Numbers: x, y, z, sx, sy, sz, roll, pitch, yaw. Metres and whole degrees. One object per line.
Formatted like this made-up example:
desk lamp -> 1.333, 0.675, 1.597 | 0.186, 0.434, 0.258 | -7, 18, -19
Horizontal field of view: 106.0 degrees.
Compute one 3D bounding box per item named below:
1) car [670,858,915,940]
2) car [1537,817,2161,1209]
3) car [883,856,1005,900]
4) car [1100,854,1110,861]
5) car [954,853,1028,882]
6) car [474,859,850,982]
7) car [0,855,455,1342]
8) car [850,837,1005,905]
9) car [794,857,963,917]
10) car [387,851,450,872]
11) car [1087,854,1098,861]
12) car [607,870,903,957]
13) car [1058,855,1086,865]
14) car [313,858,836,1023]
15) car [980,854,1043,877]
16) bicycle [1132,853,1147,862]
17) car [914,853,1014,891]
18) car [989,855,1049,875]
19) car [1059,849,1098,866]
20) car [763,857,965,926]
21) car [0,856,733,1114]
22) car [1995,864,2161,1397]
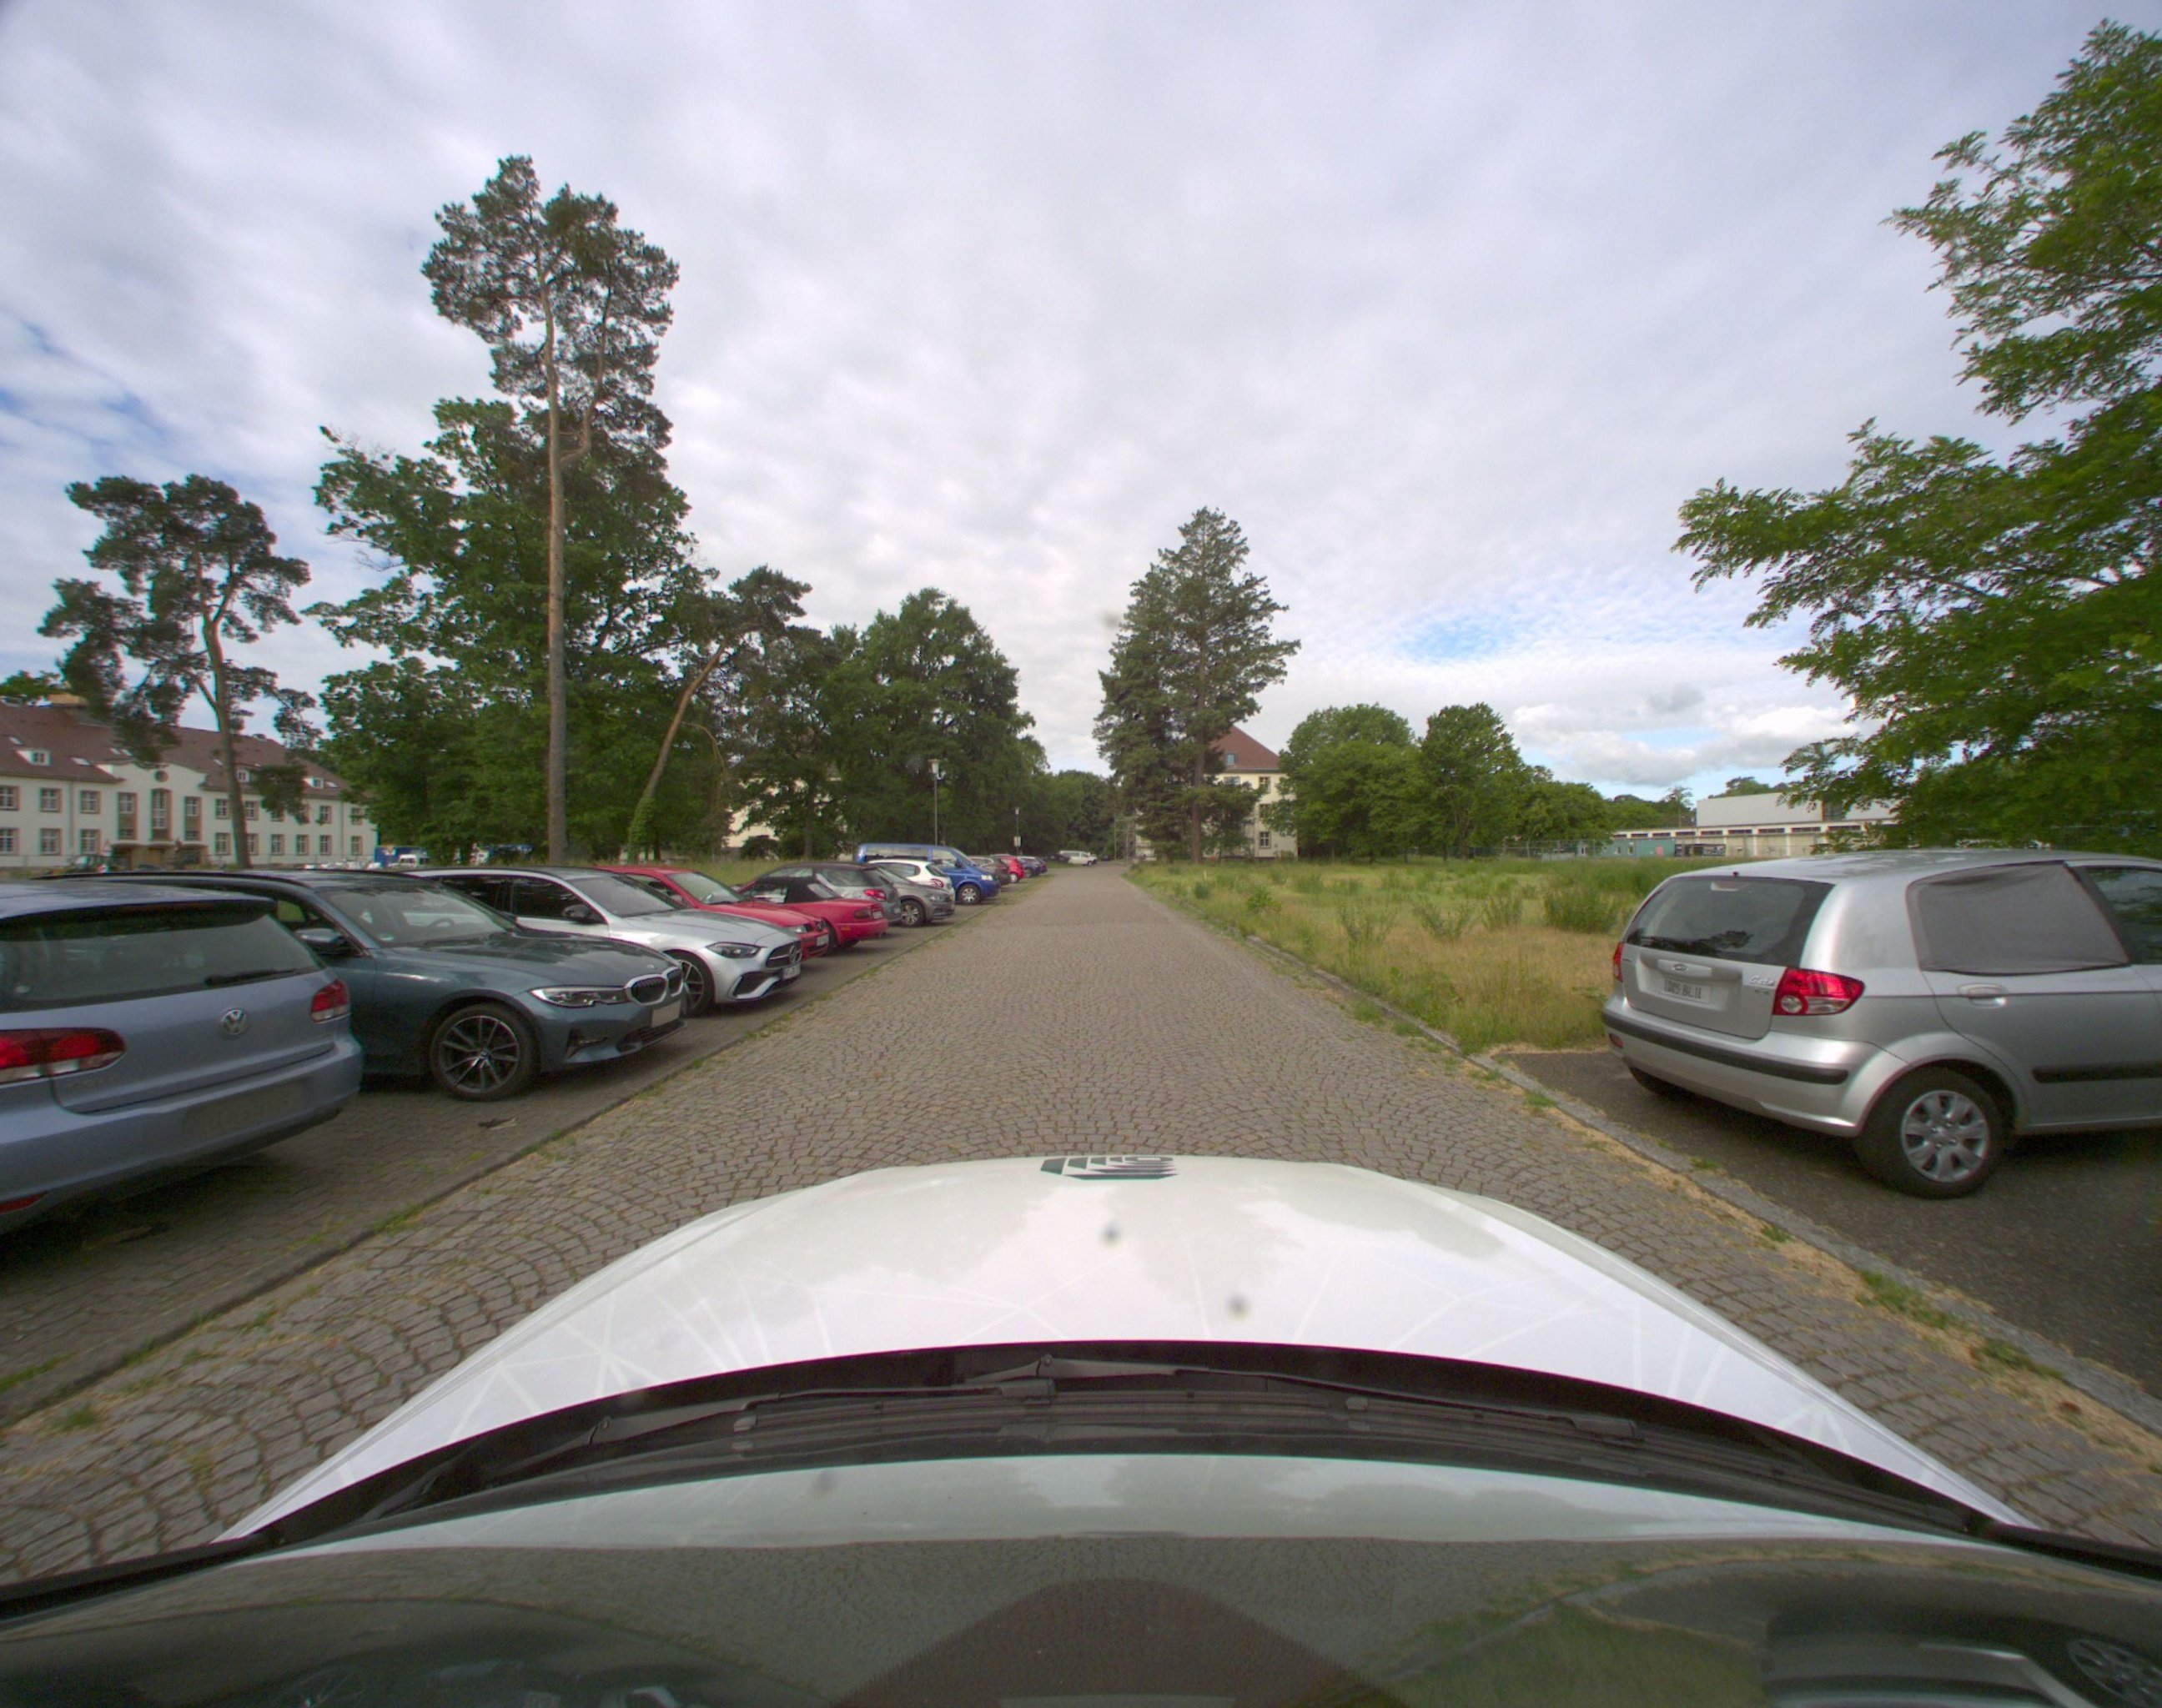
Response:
car -> -5.600, 0.843, 16.186 | 4.151, 1.482, 1.846 | -1, 0, 1
car -> 5.051, 0.636, 4.472 | 4.063, 1.515, 1.803 | -3, 0, -2
car -> -4.949, 0.848, 29.839 | 4.155, 1.510, 1.780 | -1, 0, -2
car -> 5.172, 0.697, 176.619 | 1.945, 1.522, 3.998 | 0, 0, -1
car -> -5.095, 0.753, 46.502 | 4.043, 1.525, 1.904 | -1, 0, -2
car -> -5.518, 0.840, 11.159 | 4.153, 1.476, 1.864 | -1, 0, -1
car -> -5.448, 0.802, 3.498 | 3.975, 1.543, 1.904 | -1, 0, -1
car -> -5.025, 0.550, 27.251 | 4.767, 2.122, 2.114 | -1, 0, -1
car -> -5.370, 0.862, 21.955 | 4.053, 1.497, 1.846 | -1, 0, 1
car -> -67.661, 0.766, 83.320 | 1.985, 2.014, 5.234 | -1, -1, 3
car -> 2.500, 0.735, 176.311 | 2.112, 1.522, 3.998 | 0, 0, -1
car -> -5.257, 0.948, 13.532 | 4.151, 1.266, 1.832 | -1, 0, 1
car -> -1.230, 0.815, 112.897 | 3.780, 1.395, 1.998 | 0, 0, -3
car -> -5.123, 0.825, 8.780 | 4.362, 1.507, 1.934 | -1, 0, -2
car -> -4.790, 0.786, 56.751 | 4.216, 1.577, 1.886 | 1, 0, -2
bicycle -> 9.177, 0.555, 127.563 | 2.231, 1.254, 0.778 | 0, 0, 2
car -> -5.126, 0.771, 36.131 | 4.156, 1.622, 1.985 | -1, 0, -3
car -> -4.627, 0.828, 61.473 | 4.287, 1.461, 1.976 | 1, 0, 1
car -> -0.395, 0.492, 110.309 | 5.221, 2.168, 1.998 | 0, 0, -3
car -> -4.949, 0.842, 18.995 | 4.150, 1.491, 1.865 | -1, 0, 1
car -> -5.163, 0.816, 6.120 | 4.241, 1.548, 1.933 | -1, 0, -4
car -> 5.022, 0.675, 1.762 | 4.063, 1.453, 1.884 | -3, 0, -2
